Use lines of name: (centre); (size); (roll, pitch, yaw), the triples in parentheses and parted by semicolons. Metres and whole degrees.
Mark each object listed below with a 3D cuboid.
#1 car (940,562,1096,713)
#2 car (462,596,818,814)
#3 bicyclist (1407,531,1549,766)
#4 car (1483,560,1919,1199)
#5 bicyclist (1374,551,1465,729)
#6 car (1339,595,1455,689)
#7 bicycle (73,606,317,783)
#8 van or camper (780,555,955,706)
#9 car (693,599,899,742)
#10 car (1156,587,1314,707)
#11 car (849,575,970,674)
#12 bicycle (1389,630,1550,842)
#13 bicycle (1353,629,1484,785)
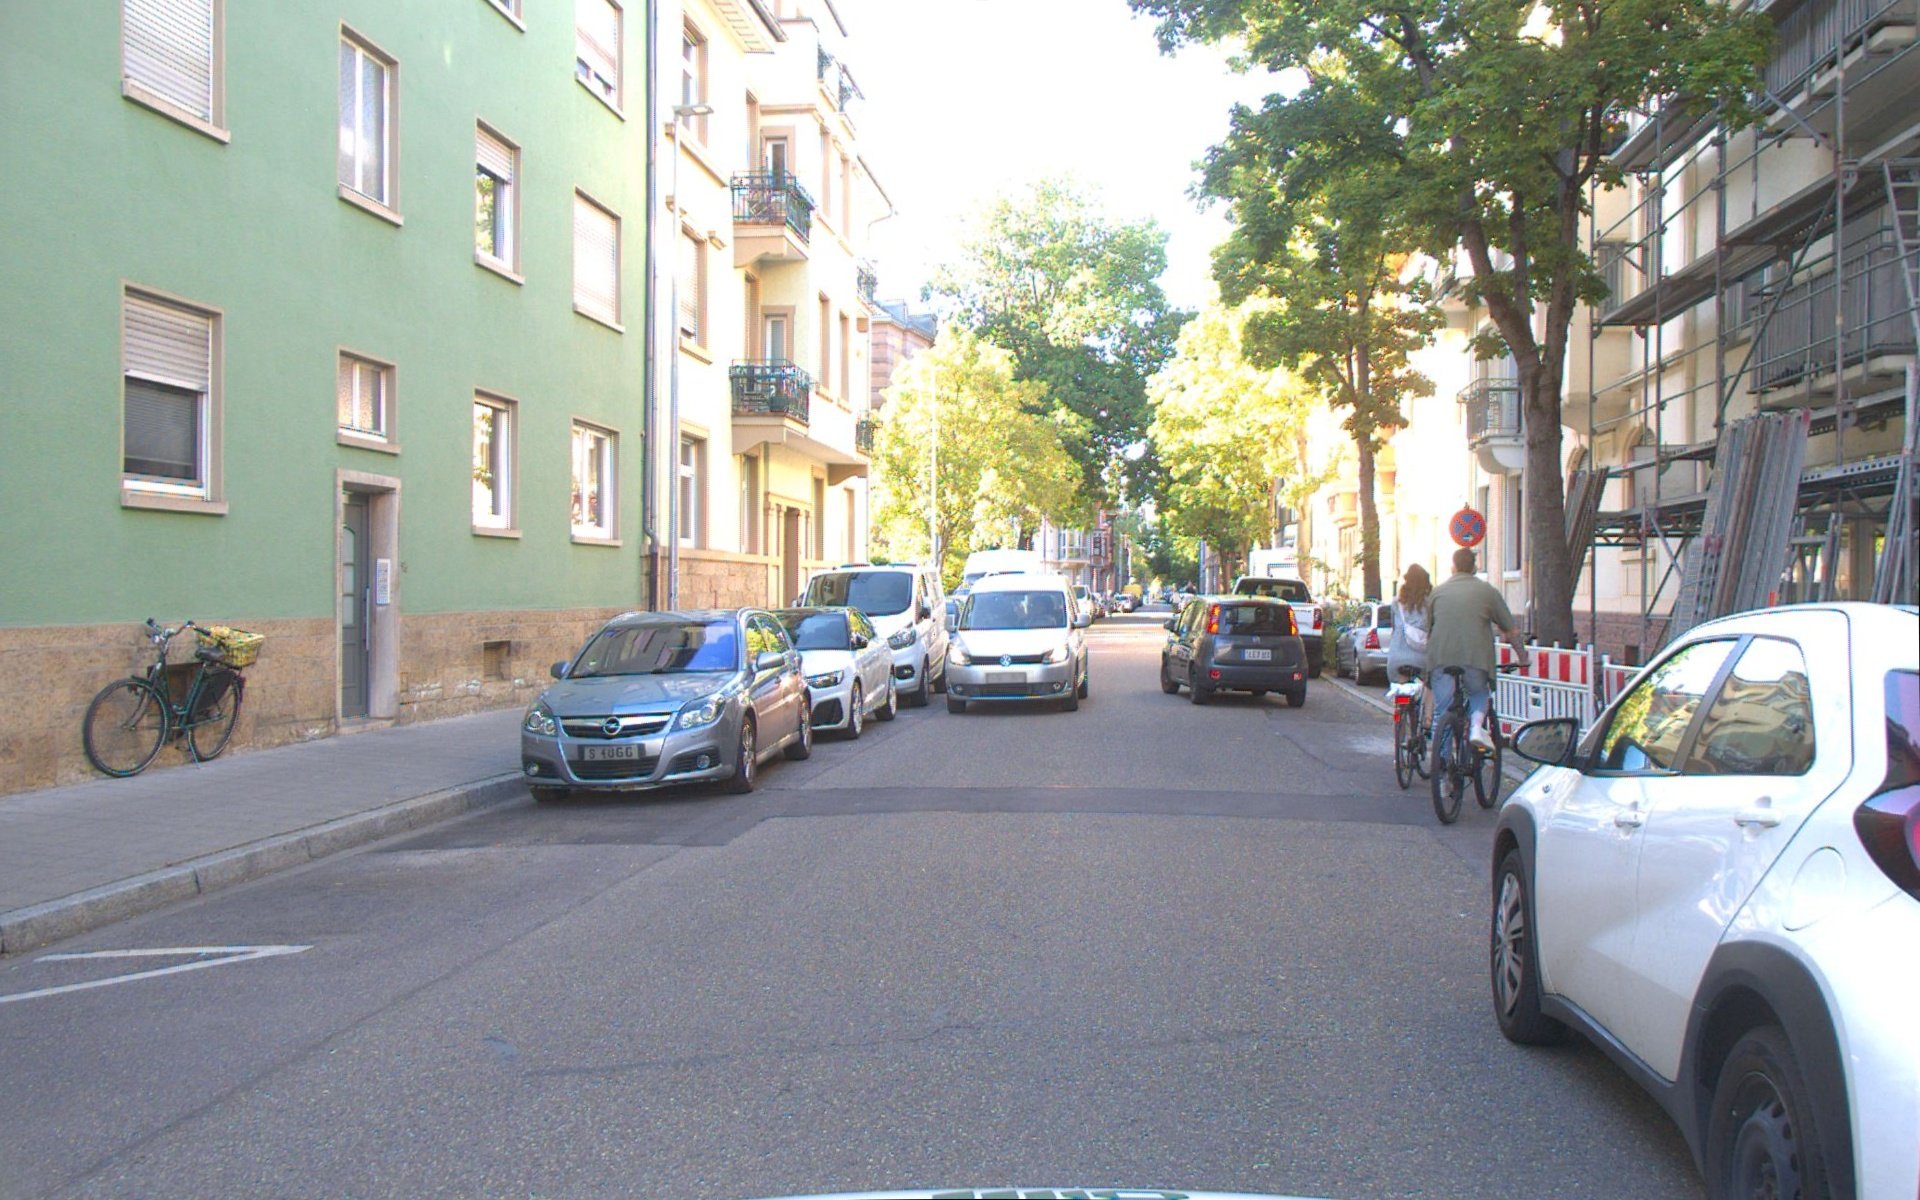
car: (0.901, 0.477, 23.079); (1.744, 1.893, 4.202); (-1, 0, 8)
car: (-2.513, 0.764, 14.105); (1.937, 1.481, 4.116); (-3, 0, 4)
bicyclist: (3.690, 0.354, 11.752); (0.864, 1.589, 0.867); (-1, -3, 23)
car: (2.567, 0.745, 4.344); (1.639, 1.572, 3.406); (2, 0, 7)
bicyclist: (3.761, 0.347, 13.517); (0.610, 1.405, 0.868); (-1, -5, 21)
car: (7.575, 0.677, 28.913); (1.523, 1.434, 3.383); (3, 1, 8)
bicycle: (-5.889, 0.675, 12.900); (0.539, 1.198, 2.280); (3, 1, 7)
van or camper: (-1.269, 0.403, 24.927); (1.951, 2.049, 4.914); (0, 0, 5)
car: (-1.791, 0.738, 19.144); (1.651, 1.479, 3.713); (0, 0, 6)
car: (3.942, 0.625, 24.186); (1.525, 1.559, 3.485); (3, 0, -2)
car: (-0.873, 0.408, 30.731); (1.674, 1.713, 4.003); (0, 1, 7)
bicycle: (3.625, 0.881, 11.628); (0.822, 1.168, 2.233); (5, 3, 21)
bicycle: (3.826, 0.868, 13.663); (0.822, 1.169, 2.232); (0, -3, 21)
